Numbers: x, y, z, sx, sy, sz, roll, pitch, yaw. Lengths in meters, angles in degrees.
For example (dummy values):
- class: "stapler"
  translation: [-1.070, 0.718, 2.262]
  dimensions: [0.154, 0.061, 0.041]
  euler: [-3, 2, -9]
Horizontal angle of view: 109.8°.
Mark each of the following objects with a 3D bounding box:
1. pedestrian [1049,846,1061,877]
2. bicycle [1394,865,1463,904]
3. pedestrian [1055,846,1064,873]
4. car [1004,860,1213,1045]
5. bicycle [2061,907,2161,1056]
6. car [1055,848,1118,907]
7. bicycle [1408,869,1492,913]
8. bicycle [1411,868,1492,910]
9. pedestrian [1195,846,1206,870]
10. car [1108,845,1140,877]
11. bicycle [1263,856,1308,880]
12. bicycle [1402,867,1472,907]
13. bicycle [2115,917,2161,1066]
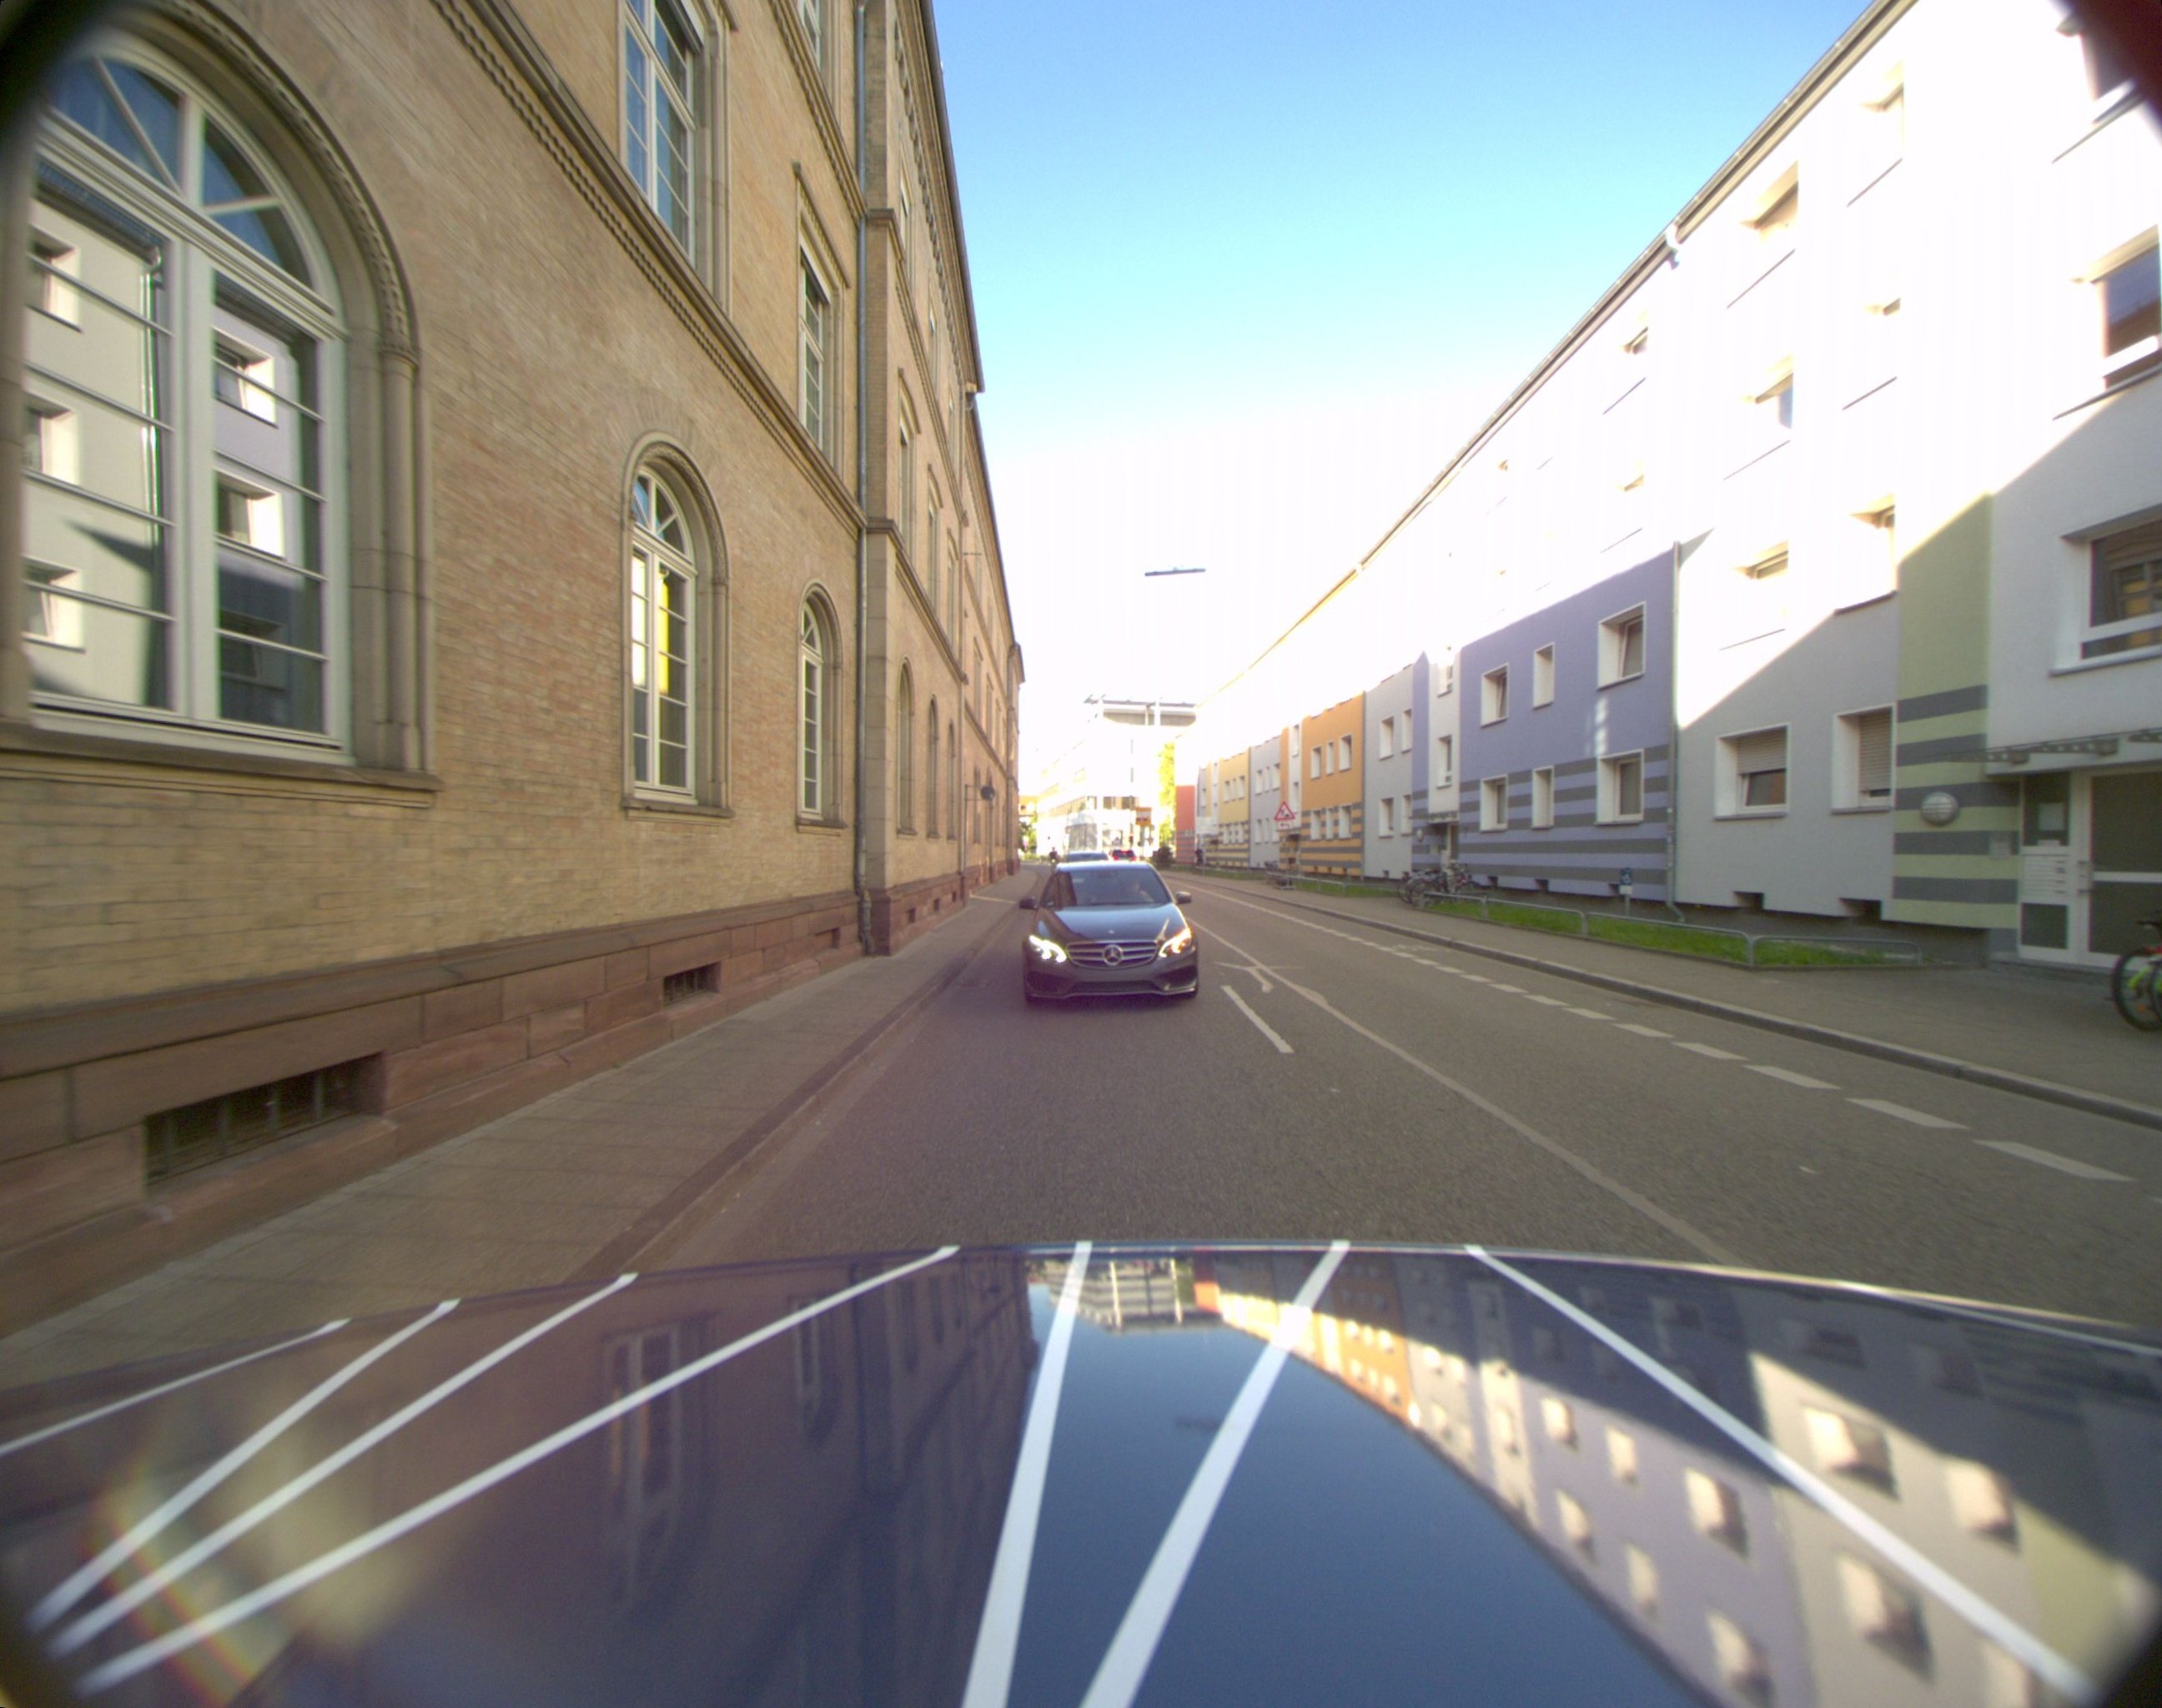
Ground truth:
- class: "pedestrian"
  translation: [-1.608, 0.445, 47.334]
  dimensions: [0.677, 1.928, 0.858]
  euler: [0, 1, 0]
- class: "bicycle"
  translation: [9.493, 0.837, 20.765]
  dimensions: [1.657, 0.940, 0.388]
  euler: [-3, 1, 1]
- class: "pedestrian"
  translation: [-1.477, 0.360, 51.450]
  dimensions: [0.603, 1.770, 0.652]
  euler: [0, 1, 0]
- class: "car"
  translation: [0.274, 0.902, 9.085]
  dimensions: [1.785, 1.471, 4.670]
  euler: [-3, 1, 1]
- class: "bicycle"
  translation: [9.213, 1.016, 6.346]
  dimensions: [1.738, 1.094, 0.388]
  euler: [-4, 1, -6]
- class: "car"
  translation: [0.188, 0.639, 23.423]
  dimensions: [1.682, 1.568, 4.242]
  euler: [-3, 1, 1]
- class: "bicycle"
  translation: [8.937, 0.900, 18.421]
  dimensions: [1.802, 0.940, 0.388]
  euler: [-3, 1, 1]
- class: "bicycle"
  translation: [9.316, 0.876, 19.107]
  dimensions: [1.802, 0.940, 0.388]
  euler: [-3, 1, 1]
- class: "pedestrian"
  translation: [8.072, 0.257, 51.306]
  dimensions: [0.612, 1.641, 0.447]
  euler: [0, 1, -5]
- class: "car"
  translation: [2.625, 0.391, 46.819]
  dimensions: [1.682, 1.777, 4.242]
  euler: [-3, 1, 1]
- class: "bicycle"
  translation: [9.436, 0.629, 35.098]
  dimensions: [1.807, 0.977, 0.654]
  euler: [-4, 1, -2]
- class: "bicycle"
  translation: [9.531, 0.886, 20.360]
  dimensions: [1.657, 0.940, 0.388]
  euler: [-3, 1, 1]
- class: "bicycle"
  translation: [9.127, 1.026, 5.943]
  dimensions: [1.738, 1.094, 0.388]
  euler: [-4, 1, -6]
